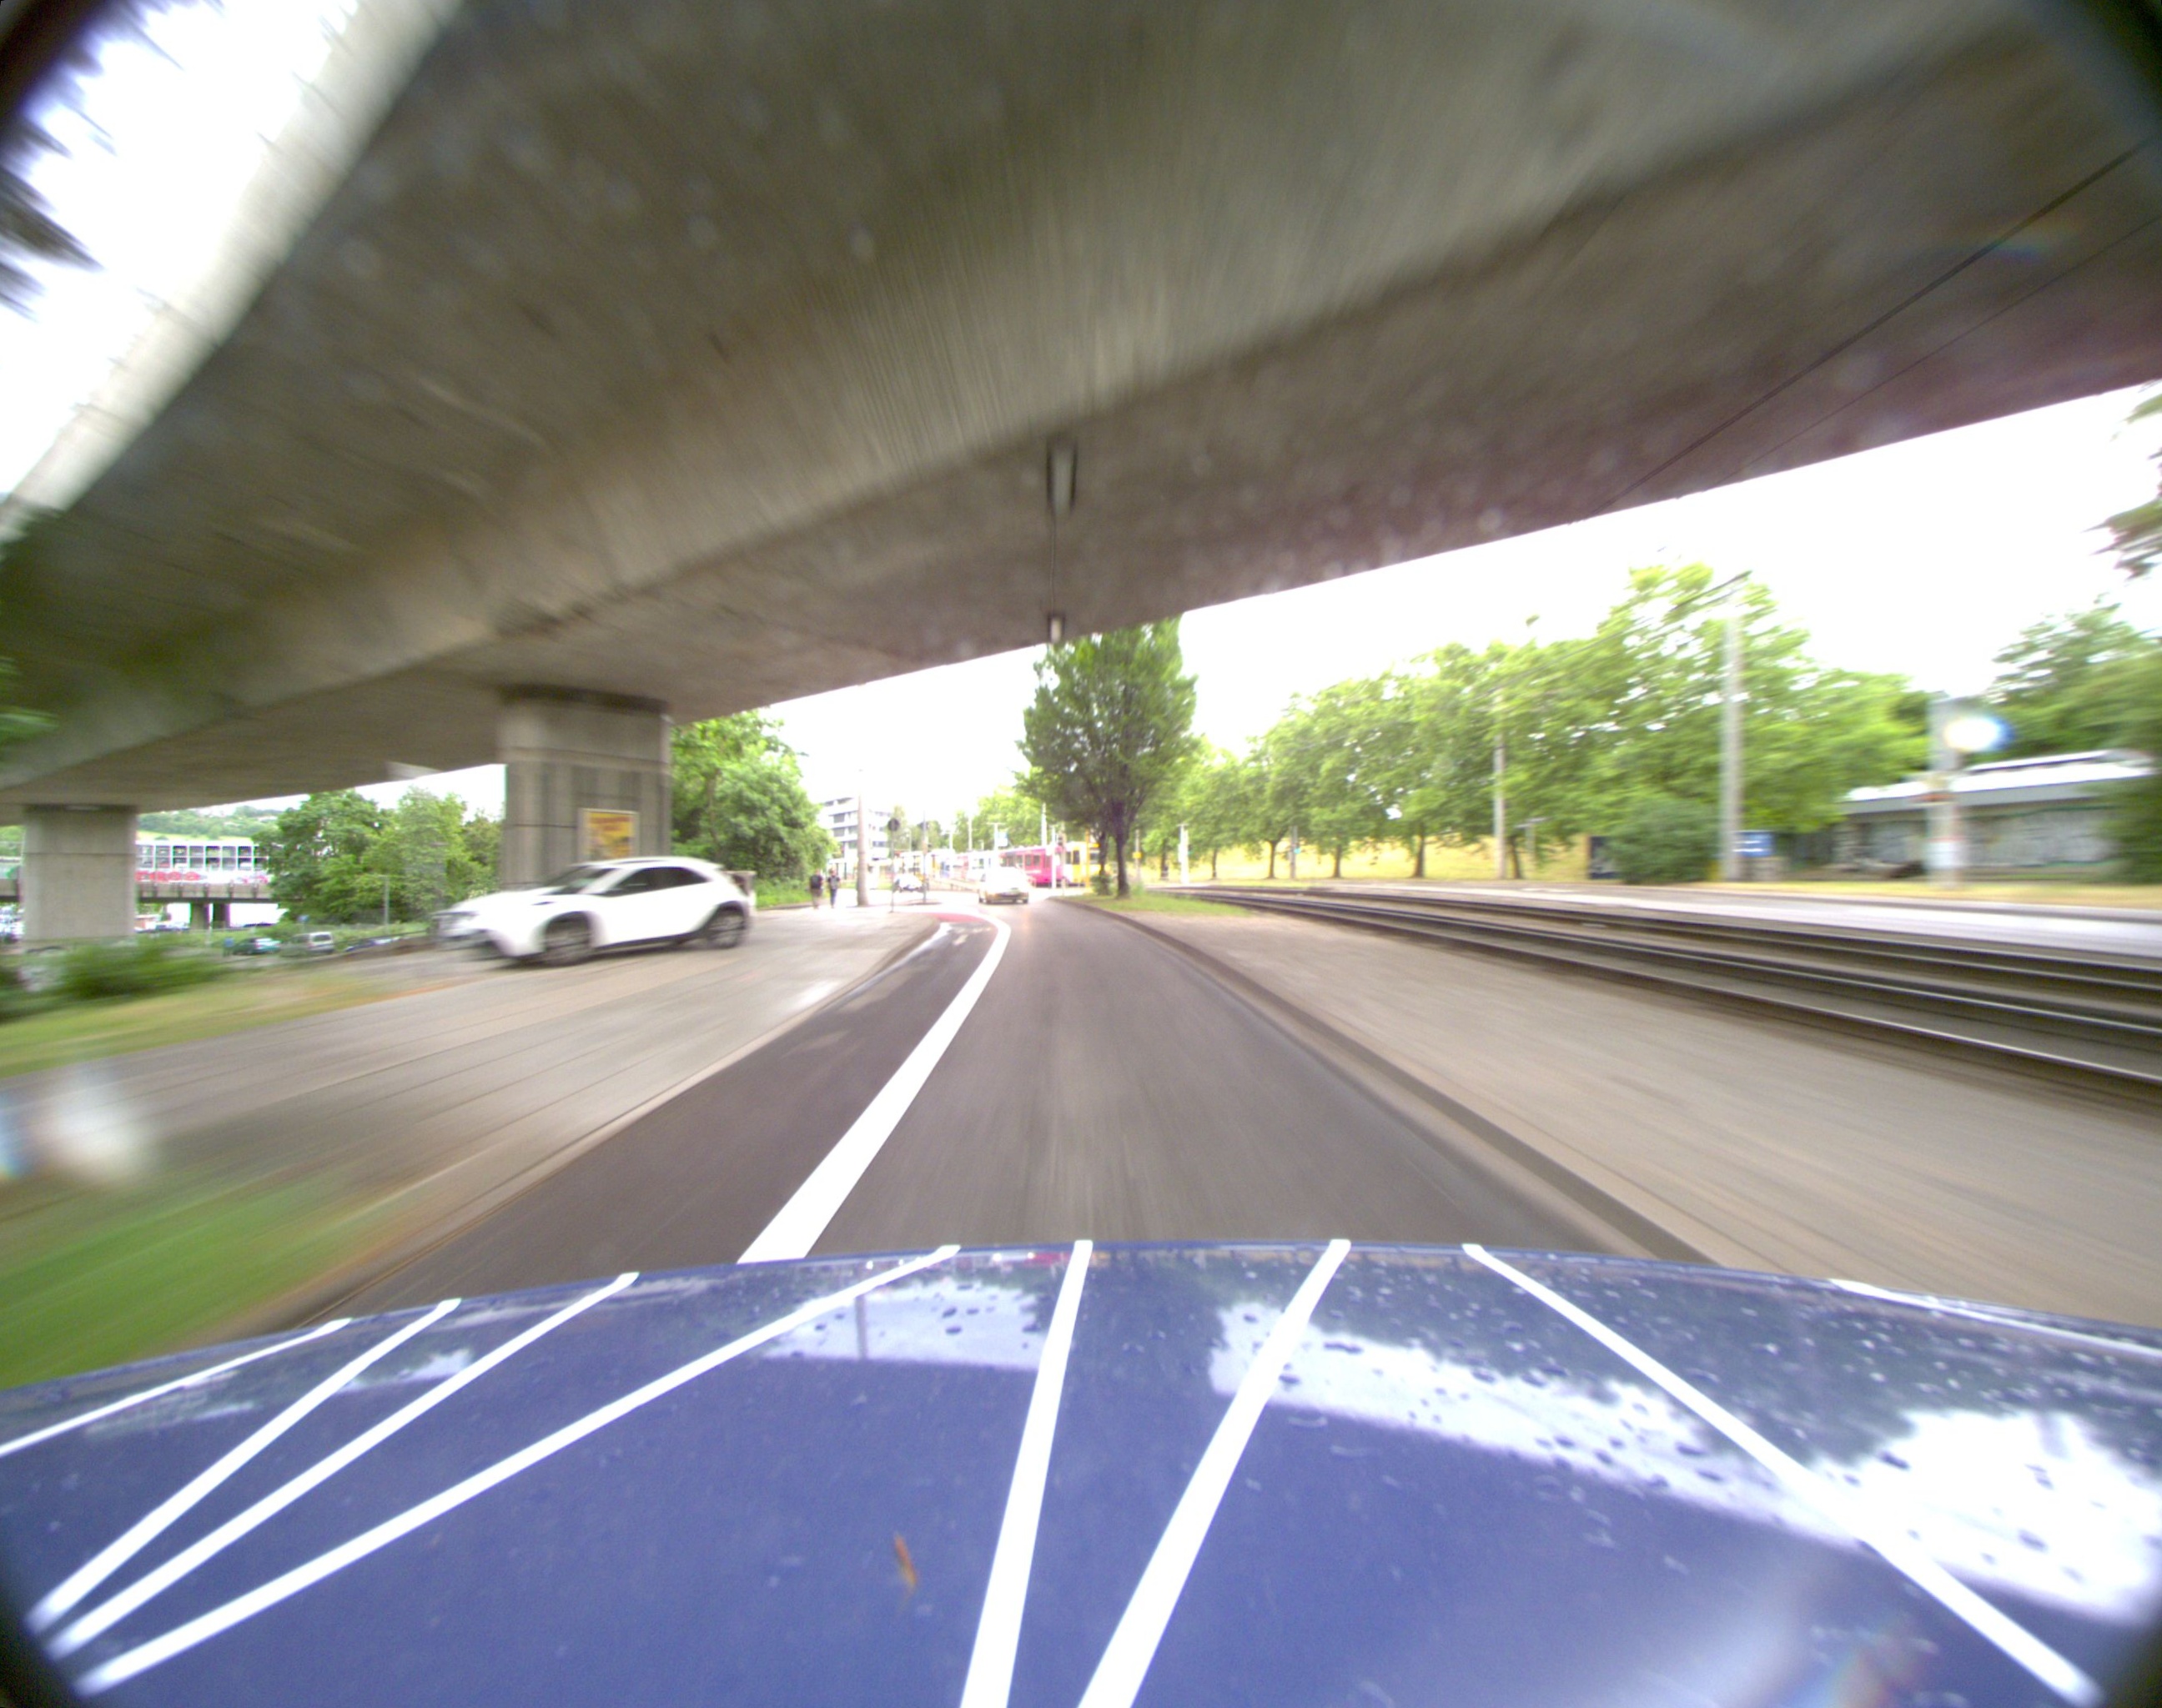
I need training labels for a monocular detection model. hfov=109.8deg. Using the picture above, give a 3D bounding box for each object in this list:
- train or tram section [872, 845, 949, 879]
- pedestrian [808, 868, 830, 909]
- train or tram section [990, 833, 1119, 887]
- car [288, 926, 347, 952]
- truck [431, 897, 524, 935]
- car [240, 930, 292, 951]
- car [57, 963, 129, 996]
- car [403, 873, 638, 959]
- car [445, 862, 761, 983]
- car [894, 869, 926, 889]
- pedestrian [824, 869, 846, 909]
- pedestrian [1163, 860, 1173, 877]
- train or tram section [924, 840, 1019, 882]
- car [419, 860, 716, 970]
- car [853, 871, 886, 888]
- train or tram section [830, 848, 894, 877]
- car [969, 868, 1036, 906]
[{"bbox_3d":[-22.622,1.061,99.255,2.882,3.931,19.283,-3,1,-34],"label":"train or tram section"},{"bbox_3d":[-12.071,1.591,35.042,0.598,1.812,0.909,-3,1,0],"label":"pedestrian"},{"bbox_3d":[-2.976,0.533,66.097,2.881,3.938,19.288,-3,1,-28],"label":"train or tram section"},{"bbox_3d":[-61.703,6.841,61.397,3.883,1.845,1.960,-2,0,22],"label":"car"},{"bbox_3d":[-37.103,3.750,46.706,5.748,2.002,2.713,-2,0,33],"label":"truck"},{"bbox_3d":[-68.376,7.228,63.759,3.764,1.525,1.841,-2,0,24],"label":"car"},{"bbox_3d":[-62.125,7.869,47.752,4.279,1.599,2.004,-2,0,28],"label":"car"},{"bbox_3d":[-13.098,1.364,17.980,1.900,1.563,4.007,-2,1,35],"label":"car"},{"bbox_3d":[-7.277,0.930,11.928,1.798,1.513,3.743,-2,0,33],"label":"car"},{"bbox_3d":[-14.195,2.031,62.979,1.784,1.493,3.992,-2,0,-24],"label":"car"},{"bbox_3d":[-11.400,1.629,35.256,0.627,1.798,0.836,-3,1,1],"label":"pedestrian"},{"bbox_3d":[9.222,1.516,80.551,0.731,1.810,0.763,-2,0,-14],"label":"pedestrian"},{"bbox_3d":[-12.404,0.775,82.914,2.881,3.948,19.285,-3,1,-31],"label":"train or tram section"},{"bbox_3d":[-9.192,0.980,13.949,1.962,1.621,4.032,-2,0,33],"label":"car"},{"bbox_3d":[-21.837,2.628,78.339,2.003,1.563,3.990,-3,1,-34],"label":"car"},{"bbox_3d":[-33.469,1.382,115.104,2.882,3.950,19.281,-3,1,-36],"label":"train or tram section"},{"bbox_3d":[-3.382,1.338,32.089,1.784,1.492,3.993,0,-1,-21],"label":"car"}]
